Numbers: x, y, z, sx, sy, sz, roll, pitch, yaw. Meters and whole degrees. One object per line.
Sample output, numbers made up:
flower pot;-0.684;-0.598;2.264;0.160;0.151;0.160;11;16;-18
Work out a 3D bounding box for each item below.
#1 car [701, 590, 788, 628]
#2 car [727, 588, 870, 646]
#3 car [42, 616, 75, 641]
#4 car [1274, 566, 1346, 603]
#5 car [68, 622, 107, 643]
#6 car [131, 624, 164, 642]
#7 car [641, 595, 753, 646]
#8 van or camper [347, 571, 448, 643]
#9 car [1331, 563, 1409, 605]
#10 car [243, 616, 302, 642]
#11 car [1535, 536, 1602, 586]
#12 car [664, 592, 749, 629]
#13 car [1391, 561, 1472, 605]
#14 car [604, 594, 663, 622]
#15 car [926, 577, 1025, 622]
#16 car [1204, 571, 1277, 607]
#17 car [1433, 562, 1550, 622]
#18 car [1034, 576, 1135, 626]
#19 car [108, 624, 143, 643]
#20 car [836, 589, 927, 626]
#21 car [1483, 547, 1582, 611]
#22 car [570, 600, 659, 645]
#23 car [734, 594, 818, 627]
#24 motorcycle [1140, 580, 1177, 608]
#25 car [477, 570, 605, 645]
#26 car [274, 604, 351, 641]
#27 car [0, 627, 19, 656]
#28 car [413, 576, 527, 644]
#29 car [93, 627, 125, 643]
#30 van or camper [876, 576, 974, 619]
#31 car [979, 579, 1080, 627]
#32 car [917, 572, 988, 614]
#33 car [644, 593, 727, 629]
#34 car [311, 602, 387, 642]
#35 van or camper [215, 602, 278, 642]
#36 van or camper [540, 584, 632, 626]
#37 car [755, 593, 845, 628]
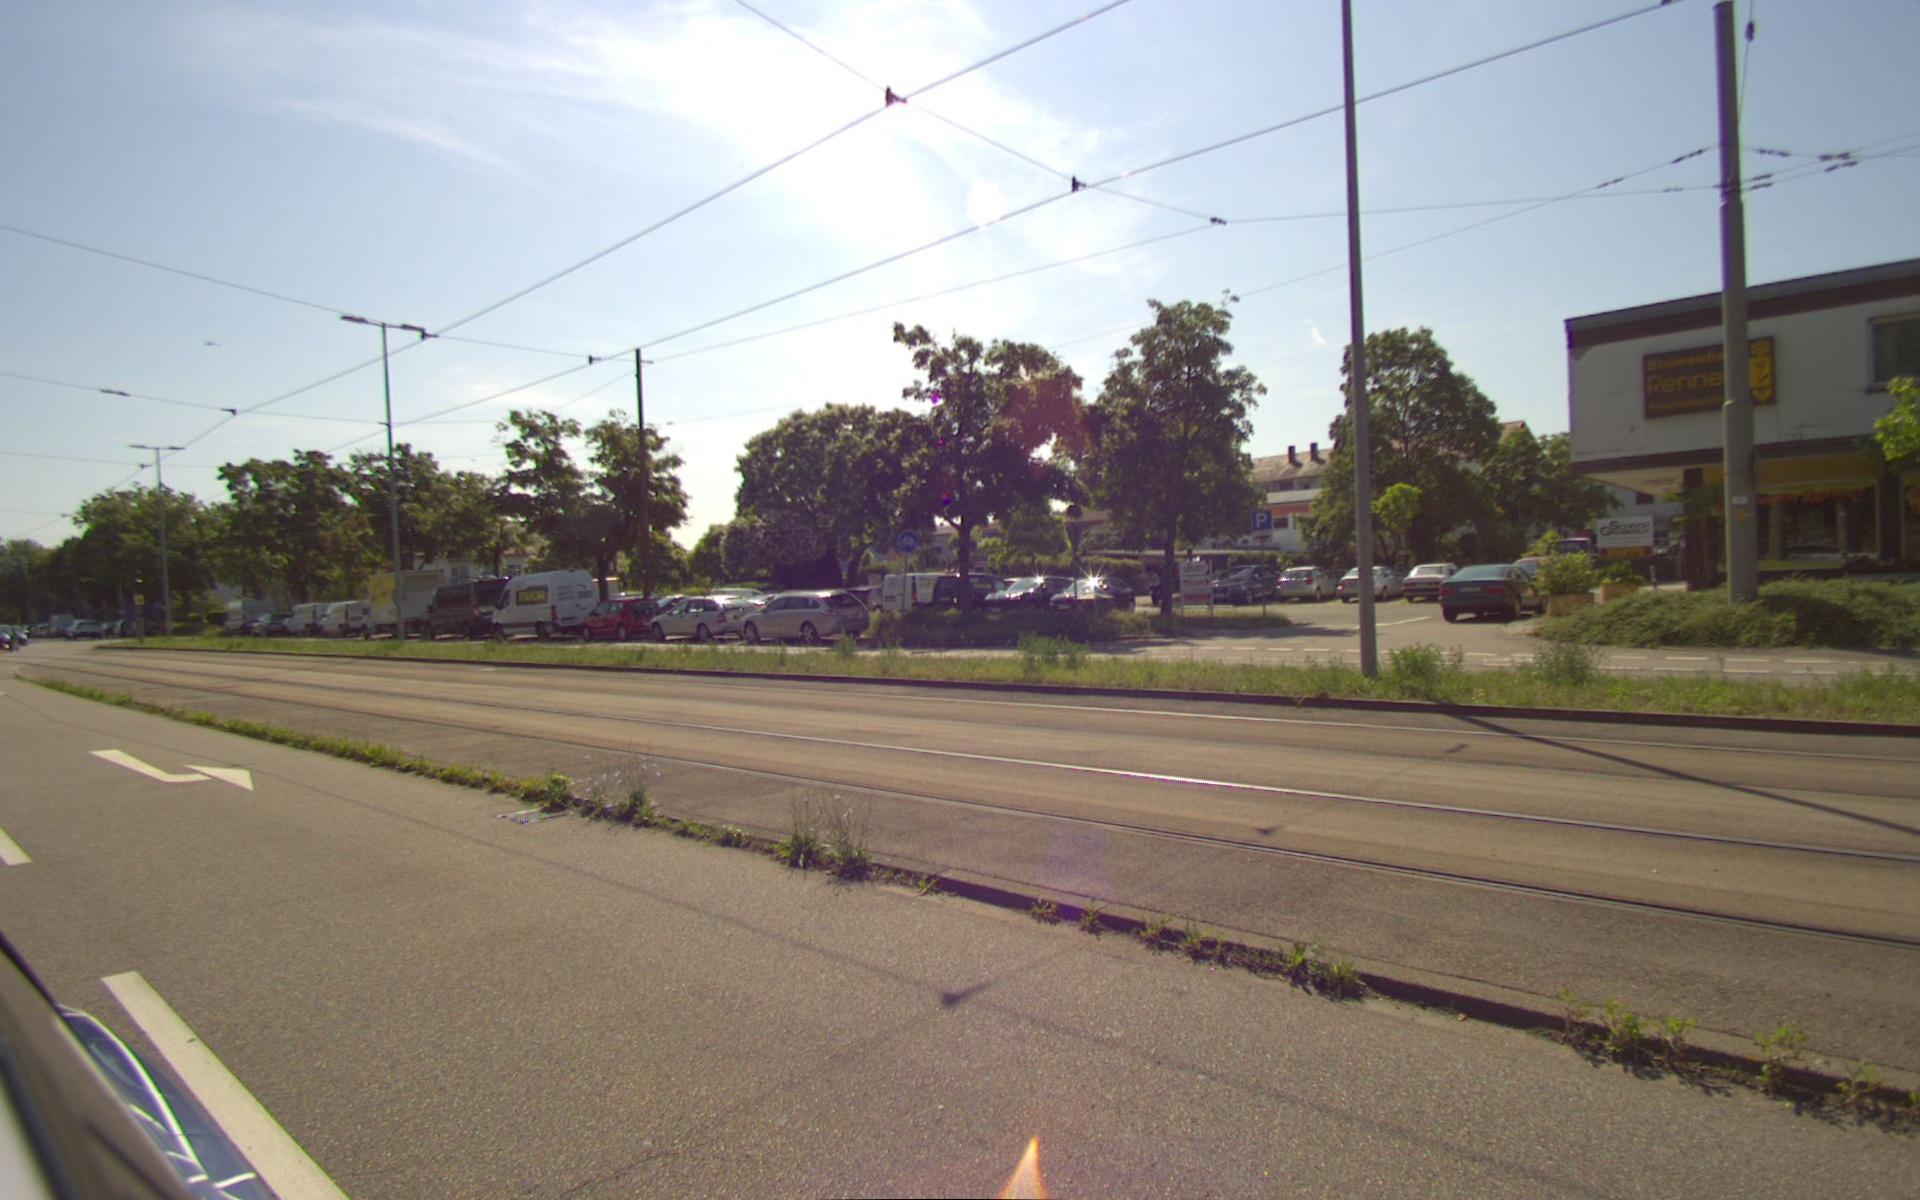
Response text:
car;-10.624;0.423;50.113;1.662;1.707;3.946;-2;1;41
car;-4.823;0.527;29.755;4.617;1.501;1.587;-2;3;43
car;-107.211;3.442;120.340;6.084;2.670;1.991;-2;4;42
car;15.159;-0.672;43.717;1.674;1.435;3.934;-2;1;39
car;-72.339;2.715;83.890;4.661;1.609;2.020;-2;-1;44
car;-70.664;2.906;87.972;4.082;1.461;1.598;-2;0;43
car;-8.692;0.688;33.209;4.349;1.501;1.278;-2;2;41
van or camper;-28.124;0.422;50.479;6.771;3.264;2.173;-2;2;43
car;16.904;-0.673;41.656;1.908;1.545;3.949;-2;0;38
car;-43.876;1.882;64.564;4.883;1.465;1.912;-2;2;41
car;28.987;-1.850;48.152;2.098;2.190;4.882;-2;1;38
car;-12.986;0.514;52.040;1.662;1.707;3.946;-2;1;41
car;18.470;-0.687;39.560;1.909;1.545;3.947;-2;1;40
car;-25.180;0.605;78.145;1.783;1.905;3.950;-2;0;38
car;0.641;-0.032;38.810;1.662;1.574;3.948;-2;0;39
car;12.434;-0.506;44.744;1.674;1.435;3.935;-2;1;38
car;13.737;-0.243;26.061;1.697;1.354;4.104;-2;1;42
car;4.396;0.023;35.327;1.662;1.574;3.948;-2;0;39
car;-78.346;3.184;95.002;4.238;1.624;1.658;-2;0;40
car;-3.197;0.297;41.955;1.487;1.381;3.950;-2;0;37
car;17.189;-0.662;30.302;1.697;1.748;4.104;-2;1;42
car;-12.486;0.818;36.511;3.673;1.501;1.279;-2;1;40
car;-8.720;0.494;48.295;1.487;1.381;3.950;-2;0;37
motorcycle;9.527;-0.297;48.507;0.734;1.243;2.104;-2;0;42
car;-16.761;0.344;40.320;5.977;2.650;2.173;-2;2;42
car;-39.004;1.355;60.885;5.176;1.955;2.176;-2;2;37
car;-52.946;2.300;55.313;3.997;1.475;1.737;-2;1;41
car;-21.683;0.459;44.674;6.076;2.688;2.174;-2;2;41
car;-83.960;3.474;99.845;4.453;1.446;1.658;-2;0;40
van or camper;-1.348;-0.127;40.447;1.873;1.574;3.952;-2;0;36
car;2.587;0.077;36.922;1.662;1.574;3.948;-2;0;39
car;-0.404;-0.422;56.921;1.908;2.216;3.950;-2;0;38
car;-14.393;0.578;53.175;1.662;1.707;3.946;-2;1;41
car;-34.070;1.260;56.354;5.184;1.955;2.173;-2;3;43
van or camper;-48.848;1.538;69.225;6.147;2.533;2.233;-2;0;43
van or camper;-31.695;0.410;86.042;2.579;3.269;6.882;-2;0;39
car;-7.262;0.464;46.188;1.658;1.381;3.949;-2;0;38
